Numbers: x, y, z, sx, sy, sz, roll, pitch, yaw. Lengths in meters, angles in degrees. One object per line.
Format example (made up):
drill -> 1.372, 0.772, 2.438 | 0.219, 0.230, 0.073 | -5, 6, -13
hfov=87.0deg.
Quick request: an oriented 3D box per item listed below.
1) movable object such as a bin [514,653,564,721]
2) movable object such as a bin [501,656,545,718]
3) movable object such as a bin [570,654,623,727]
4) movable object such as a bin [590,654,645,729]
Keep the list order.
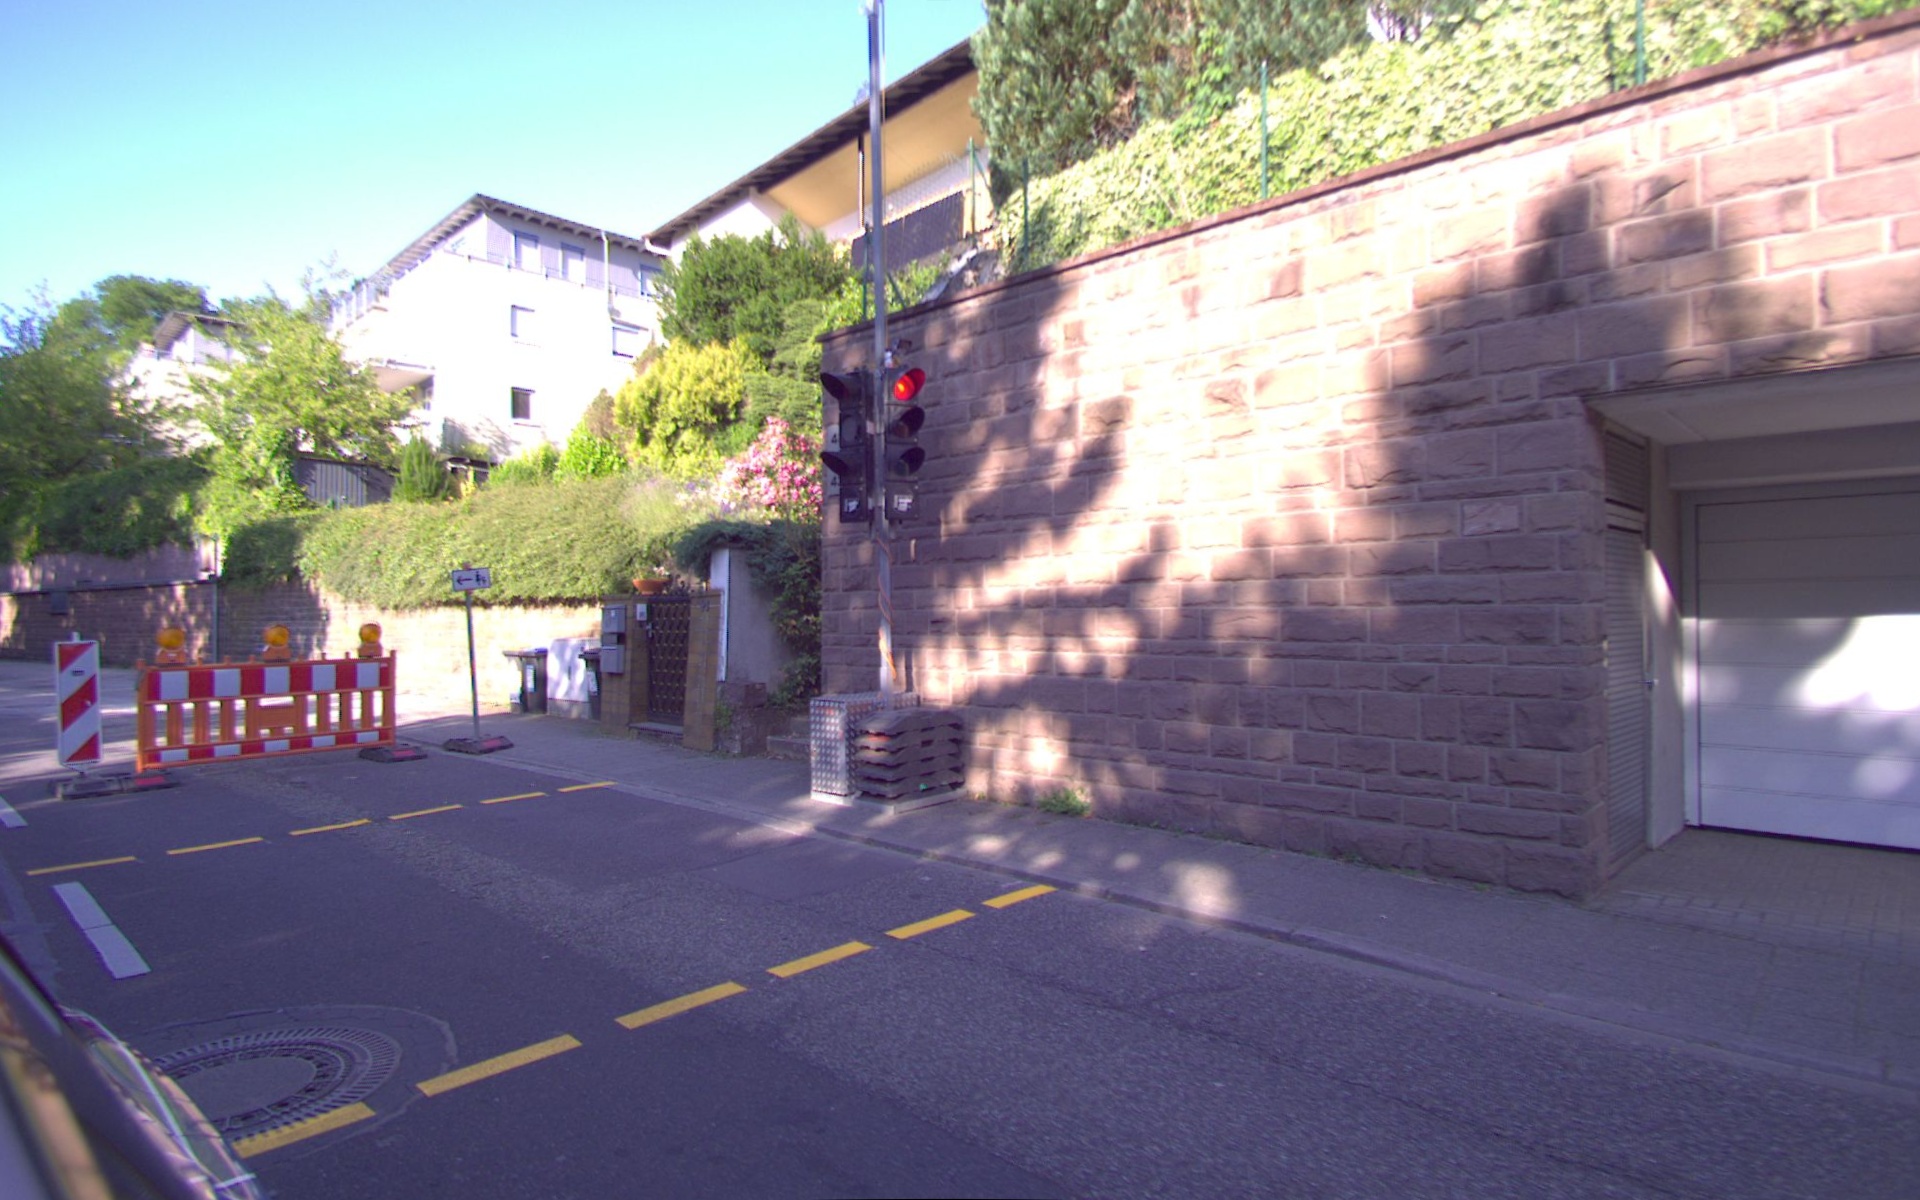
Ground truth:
movable object such as a bin -> -5.864, 1.205, 14.099 | 0.500, 0.890, 0.451 | -2, 0, 41
movable object such as a bin -> -6.232, 1.237, 14.432 | 0.392, 0.840, 0.449 | -2, -1, 41
movable object such as a bin -> -4.704, 1.159, 13.103 | 0.500, 0.890, 0.451 | -2, 0, 41
movable object such as a bin -> -4.315, 1.144, 12.750 | 0.500, 0.890, 0.451 | -2, 0, 41
